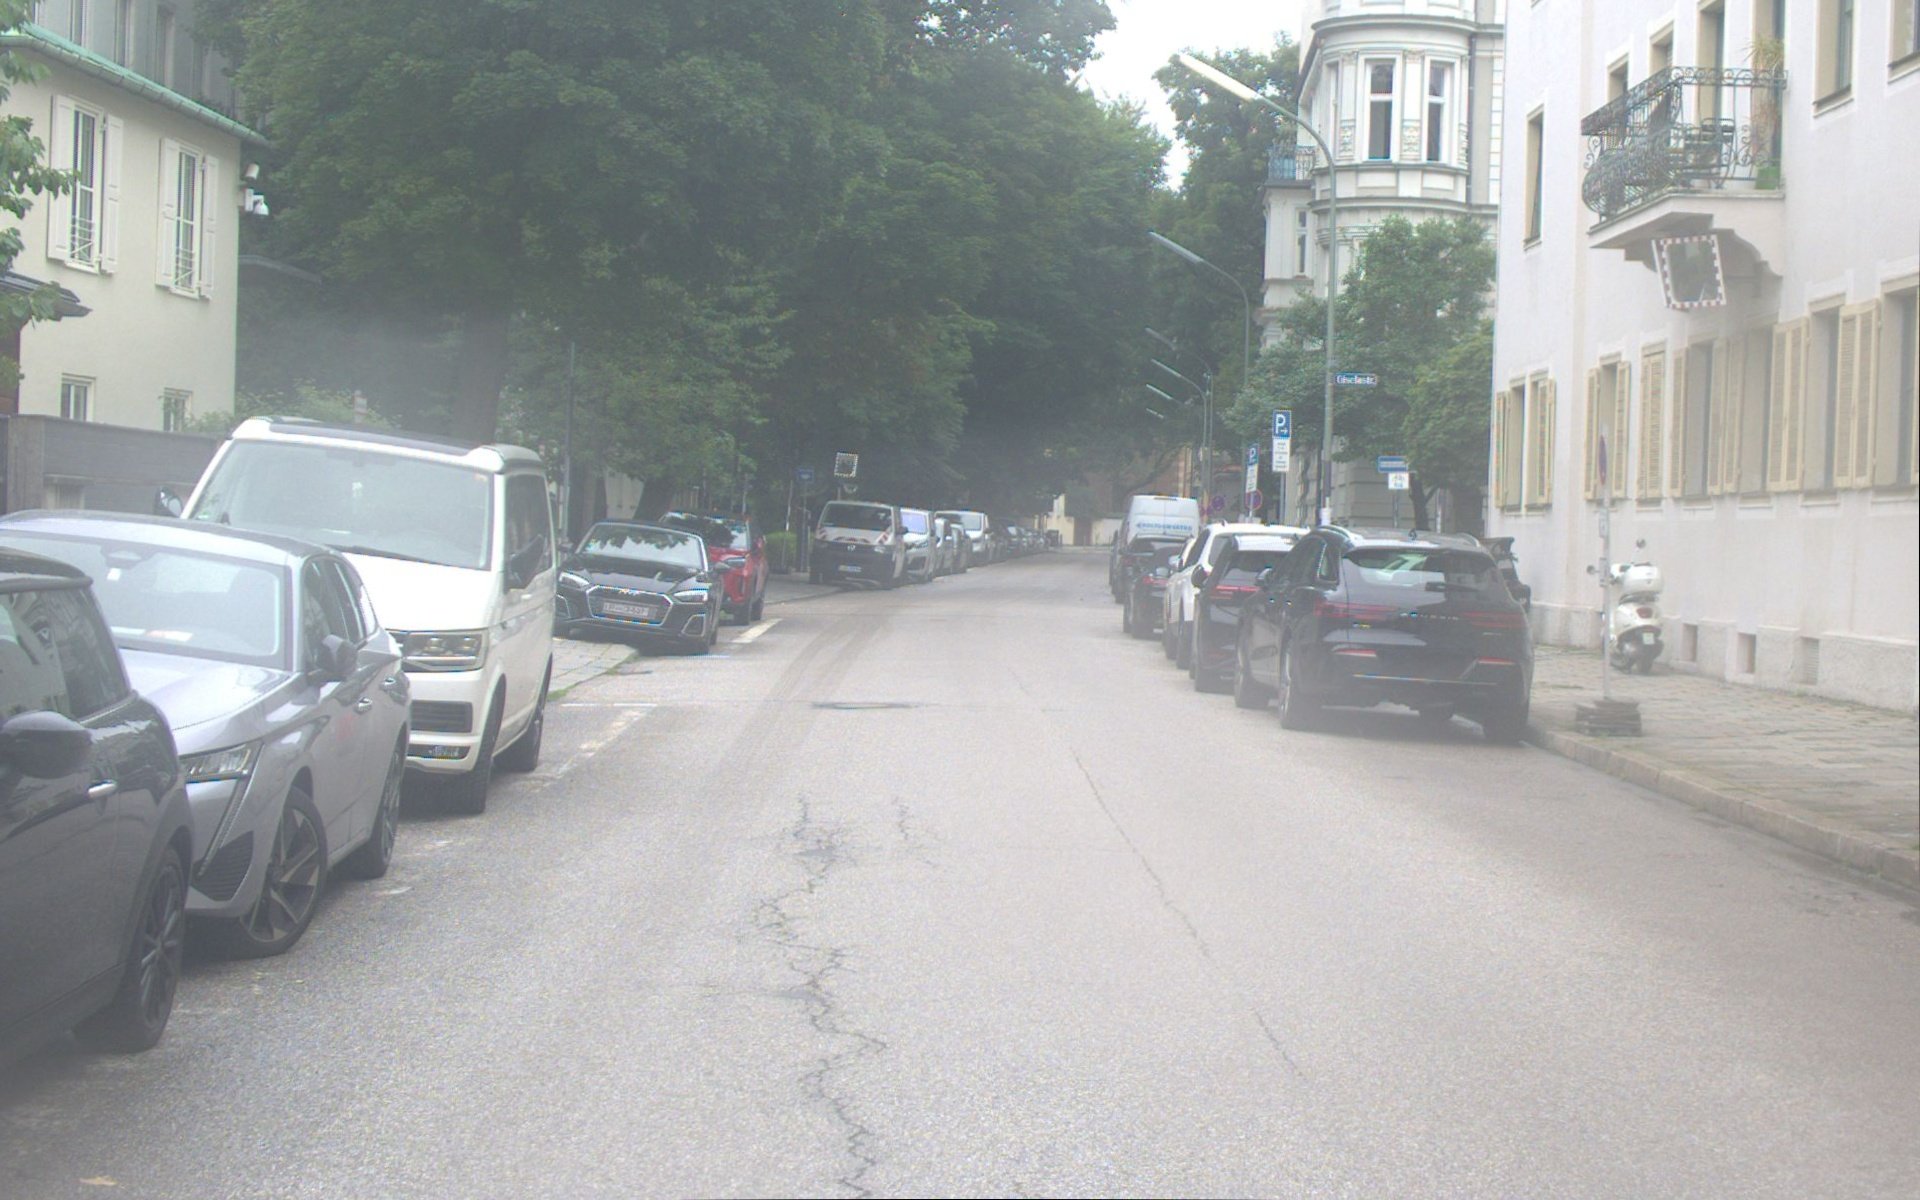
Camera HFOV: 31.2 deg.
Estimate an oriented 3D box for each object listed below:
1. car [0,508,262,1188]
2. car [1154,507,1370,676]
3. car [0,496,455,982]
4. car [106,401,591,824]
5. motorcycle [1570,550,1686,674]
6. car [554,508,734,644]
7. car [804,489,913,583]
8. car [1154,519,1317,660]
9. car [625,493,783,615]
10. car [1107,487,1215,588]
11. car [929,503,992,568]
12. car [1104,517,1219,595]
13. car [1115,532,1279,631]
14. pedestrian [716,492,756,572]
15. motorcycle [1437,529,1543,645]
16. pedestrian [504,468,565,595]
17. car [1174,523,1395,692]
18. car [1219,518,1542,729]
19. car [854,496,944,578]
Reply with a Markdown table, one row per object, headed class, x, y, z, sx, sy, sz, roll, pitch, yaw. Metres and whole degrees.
| class | x | y | z | sx | sy | sz | roll | pitch | yaw |
| --- | --- | --- | --- | --- | --- | --- | --- | --- | --- |
| car | -3.094 | 0.544 | 8.470 | 1.859 | 1.539 | 4.188 | 0 | 1 | 1 |
| car | 3.392 | -0.146 | 39.423 | 1.993 | 1.701 | 4.535 | 4 | 1 | 0 |
| car | -3.165 | 0.389 | 13.558 | 1.887 | 1.538 | 4.697 | 2 | 1 | -4 |
| car | -3.290 | 0.002 | 19.525 | 1.966 | 1.983 | 5.152 | 3 | 1 | -3 |
| motorcycle | 7.044 | 0.109 | 36.356 | 0.732 | 1.235 | 2.008 | 3 | 1 | -1 |
| car | -3.643 | -0.320 | 40.303 | 1.807 | 1.397 | 4.925 | 3 | 1 | -3 |
| car | -2.265 | -1.471 | 78.167 | 2.247 | 1.950 | 5.454 | 3 | 1 | 0 |
| car | 3.484 | -0.168 | 44.046 | 1.771 | 1.540 | 3.711 | 6 | 1 | 2 |
| car | -3.674 | -0.691 | 50.035 | 1.887 | 1.585 | 4.528 | 3 | 1 | 0 |
| car | 4.526 | -1.406 | 77.982 | 2.203 | 2.200 | 4.855 | 1 | 1 | 1 |
| car | 0.036 | -2.320 | 122.828 | 2.002 | 2.179 | 4.696 | 3 | 1 | 2 |
| car | 4.198 | -0.911 | 71.033 | 2.273 | 1.541 | 4.586 | 1 | 1 | 4 |
| car | 3.316 | -0.294 | 48.924 | 2.000 | 1.314 | 4.596 | -1 | 1 | 0 |
| pedestrian | -4.507 | -1.369 | 69.206 | 0.713 | 1.543 | 0.753 | 4 | 1 | -3 |
| motorcycle | 6.945 | -0.193 | 45.145 | 0.857 | 1.428 | 2.707 | 2 | 1 | -2 |
| pedestrian | -6.357 | -1.022 | 51.377 | 0.712 | 1.846 | 0.797 | 3 | 1 | 1 |
| car | 3.147 | 0.024 | 34.124 | 1.838 | 1.526 | 4.416 | 1 | 1 | 1 |
| car | 3.396 | 0.119 | 28.685 | 1.860 | 1.571 | 4.900 | 1 | 1 | -3 |
| car | -1.557 | -1.659 | 89.866 | 2.183 | 1.950 | 5.167 | 3 | 1 | 0 |
